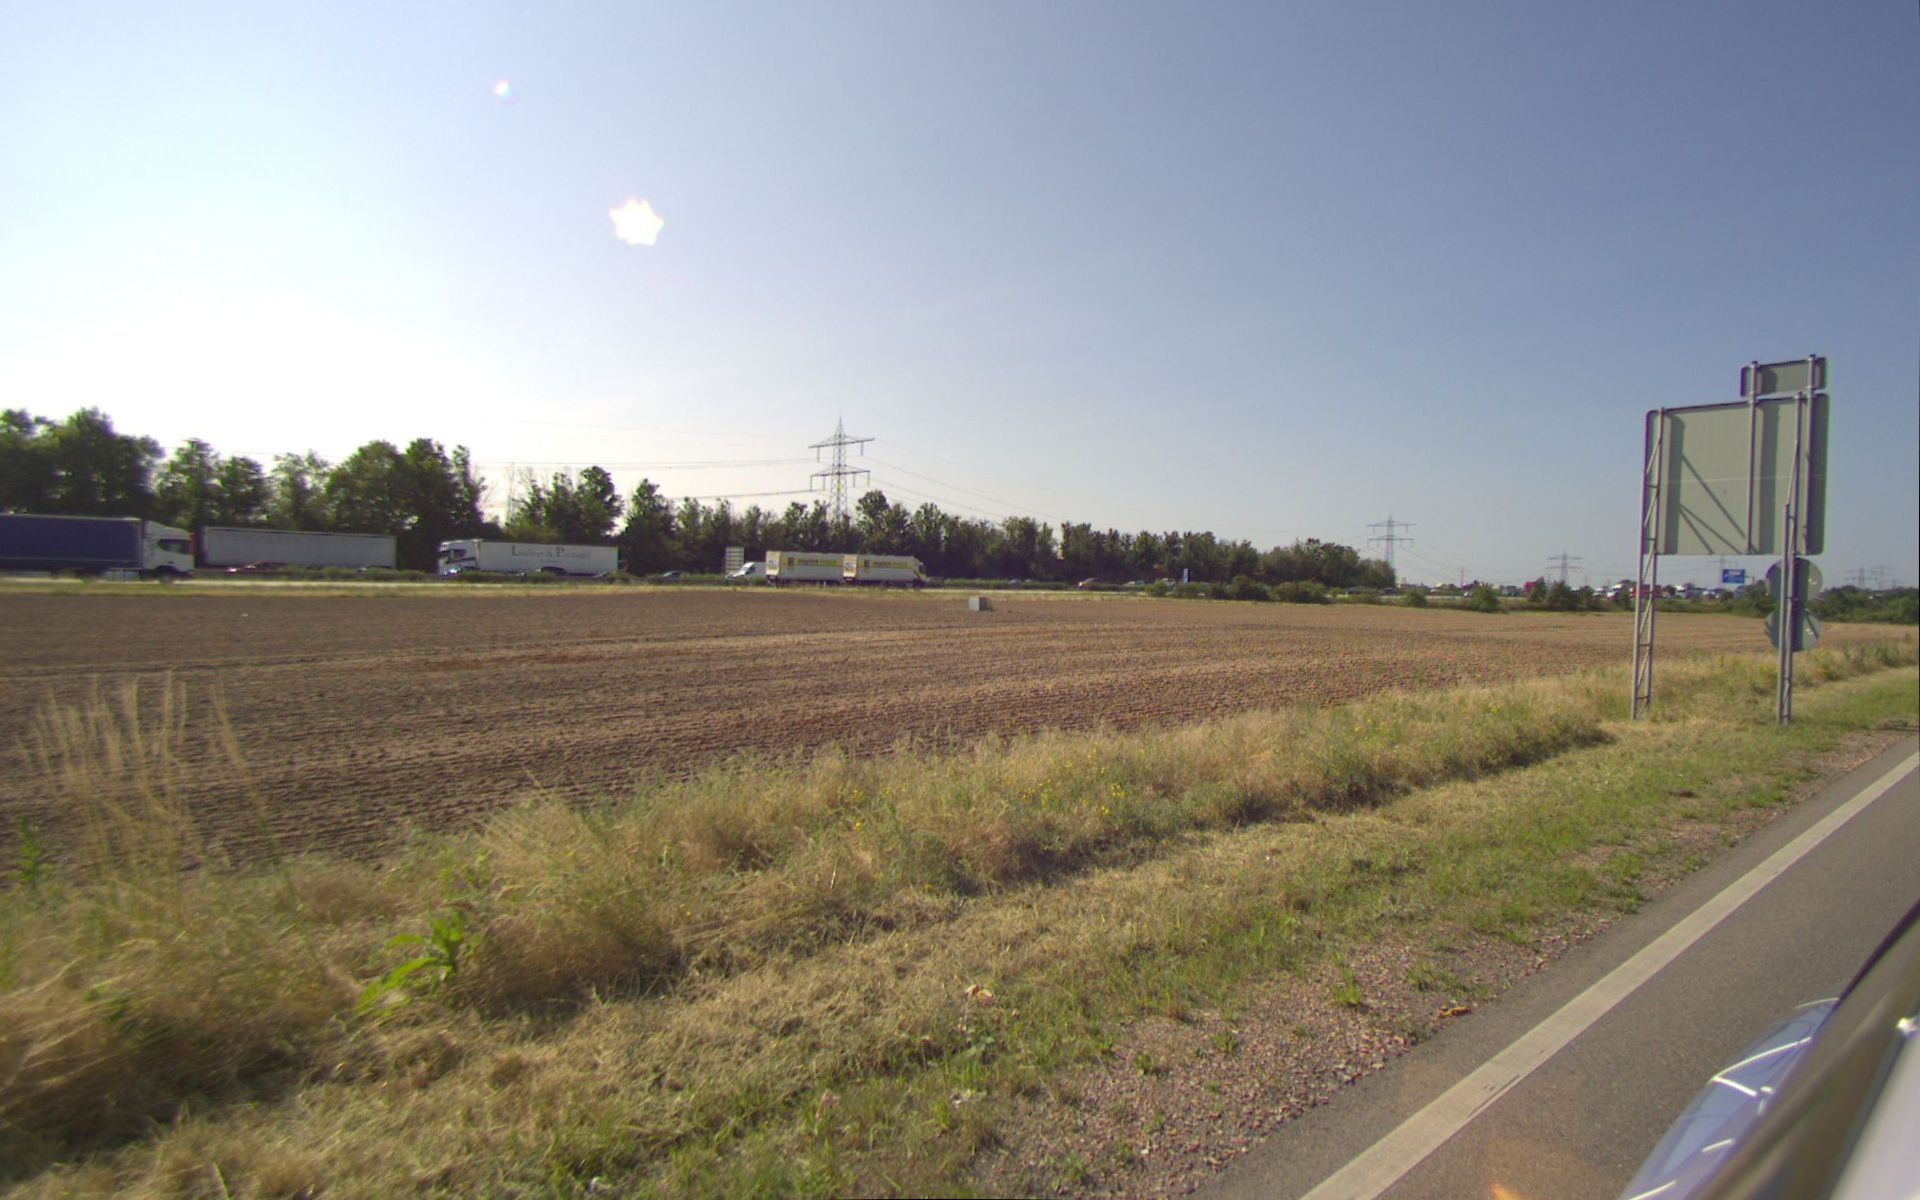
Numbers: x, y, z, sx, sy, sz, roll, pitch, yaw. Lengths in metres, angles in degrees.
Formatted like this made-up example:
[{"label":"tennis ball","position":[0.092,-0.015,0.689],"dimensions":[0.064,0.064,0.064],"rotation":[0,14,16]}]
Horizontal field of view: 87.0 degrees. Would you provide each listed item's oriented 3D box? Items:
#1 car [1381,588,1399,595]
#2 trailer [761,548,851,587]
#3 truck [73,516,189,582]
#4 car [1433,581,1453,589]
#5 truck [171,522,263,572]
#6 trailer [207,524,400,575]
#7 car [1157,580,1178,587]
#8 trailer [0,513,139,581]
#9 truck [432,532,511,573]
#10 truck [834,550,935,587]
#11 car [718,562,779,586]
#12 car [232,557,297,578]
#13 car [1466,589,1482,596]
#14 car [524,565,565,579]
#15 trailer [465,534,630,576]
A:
[{"label":"car","position":[78.274,-1.531,184.245],"dimensions":[3.489,1.279,1.581],"rotation":[0,0,-41]},{"label":"trailer","position":[-14.871,-3.114,98.201],"dimensions":[8.569,3.458,2.797],"rotation":[0,1,-42]},{"label":"truck","position":[-52.676,-3.157,64.339],"dimensions":[5.516,3.850,3.075],"rotation":[1,0,-43]},{"label":"car","position":[109.549,-3.403,229.473],"dimensions":[5.508,1.702,2.054],"rotation":[0,1,-40]},{"label":"truck","position":[-60.245,-4.191,82.121],"dimensions":[5.768,3.780,2.950],"rotation":[0,1,-42]},{"label":"trailer","position":[-55.640,-4.179,86.244],"dimensions":[13.544,3.780,2.950],"rotation":[0,1,-42]},{"label":"car","position":[33.721,-2.659,164.389],"dimensions":[3.795,1.139,1.342],"rotation":[0,1,-42]},{"label":"trailer","position":[-57.732,-3.176,59.588],"dimensions":[14.346,3.850,3.075],"rotation":[1,0,-43]},{"label":"truck","position":[-45.673,-4.376,94.658],"dimensions":[6.004,3.575,3.208],"rotation":[0,2,-42]},{"label":"truck","position":[-7.701,-3.180,104.746],"dimensions":[10.930,3.521,2.810],"rotation":[0,1,-42]},{"label":"car","position":[-22.707,-2.793,108.795],"dimensions":[6.301,2.478,2.041],"rotation":[0,1,-41]},{"label":"car","position":[-54.210,-2.491,78.937],"dimensions":[4.023,1.528,1.705],"rotation":[0,0,-42]},{"label":"car","position":[99.811,-1.499,196.677],"dimensions":[3.489,1.279,1.581],"rotation":[0,0,-41]},{"label":"car","position":[-38.077,-2.547,92.800],"dimensions":[3.237,1.234,1.342],"rotation":[0,1,-44]},{"label":"trailer","position":[-40.267,-4.355,99.566],"dimensions":[14.824,3.575,3.208],"rotation":[0,2,-42]}]
